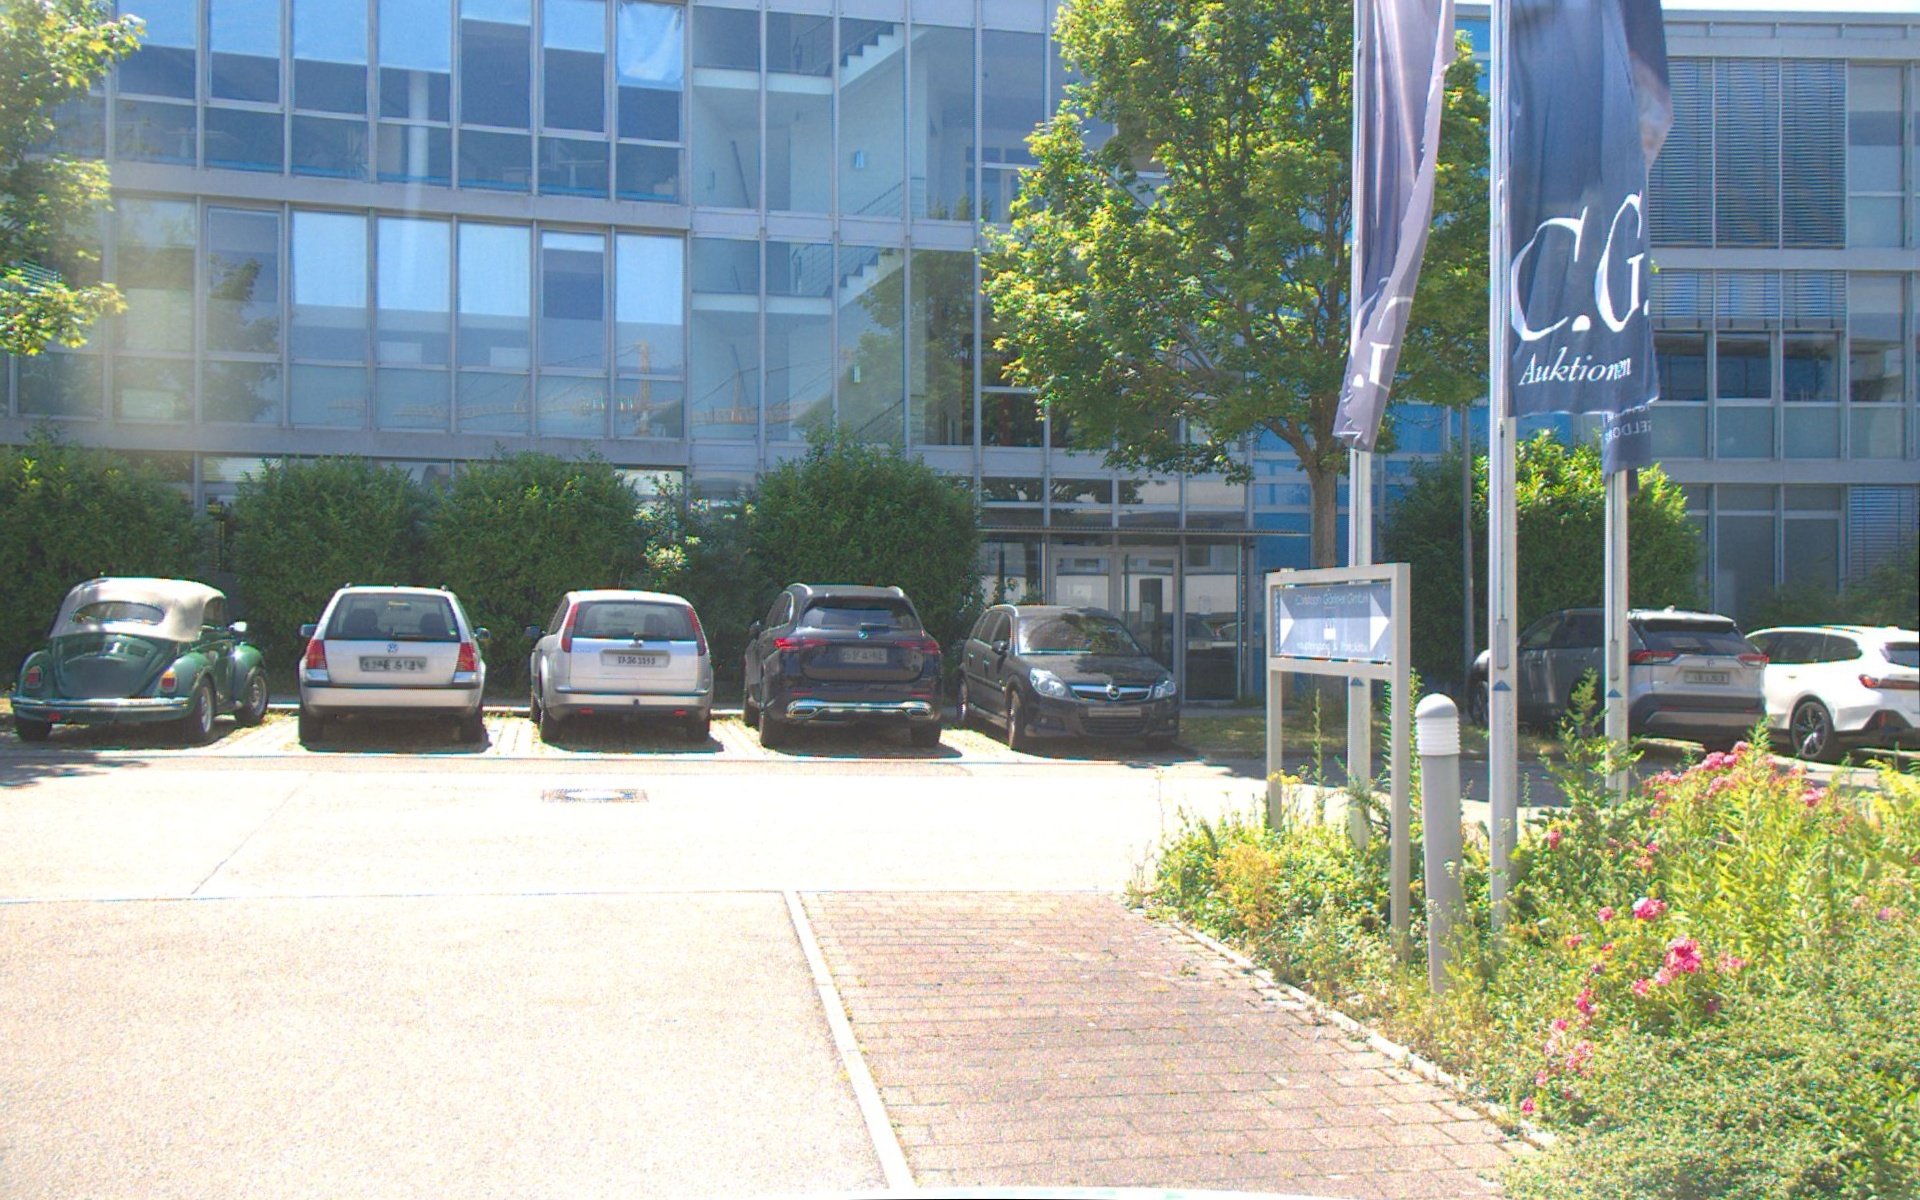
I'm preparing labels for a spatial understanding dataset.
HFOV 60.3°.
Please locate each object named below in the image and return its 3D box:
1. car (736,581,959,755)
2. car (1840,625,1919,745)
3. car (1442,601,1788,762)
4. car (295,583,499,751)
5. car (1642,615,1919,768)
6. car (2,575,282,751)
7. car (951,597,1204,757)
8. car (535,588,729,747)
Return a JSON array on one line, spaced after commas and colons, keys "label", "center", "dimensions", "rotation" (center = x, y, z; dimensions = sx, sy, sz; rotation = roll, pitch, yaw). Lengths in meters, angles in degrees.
[{"label": "car", "center": [-1.343, 0.649, 18.012], "dimensions": [1.893, 1.639, 3.975], "rotation": [2, 0, -11]}, {"label": "car", "center": [12.835, 1.111, 20.225], "dimensions": [1.701, 1.454, 4.338], "rotation": [2, 0, -2]}, {"label": "car", "center": [7.649, 0.873, 19.828], "dimensions": [1.787, 1.648, 4.327], "rotation": [1, 1, -11]}, {"label": "car", "center": [-5.565, 0.600, 16.716], "dimensions": [1.703, 1.474, 3.638], "rotation": [2, 0, -16]}, {"label": "car", "center": [10.232, 1.013, 19.783], "dimensions": [1.705, 1.518, 4.327], "rotation": [2, 0, -11]}, {"label": "car", "center": [-7.750, 0.526, 16.008], "dimensions": [1.514, 1.474, 3.643], "rotation": [2, 0, -12]}, {"label": "car", "center": [1.160, 0.760, 18.390], "dimensions": [1.738, 1.508, 4.247], "rotation": [1, 1, -11]}, {"label": "car", "center": [-3.611, 0.652, 17.739], "dimensions": [1.736, 1.474, 3.638], "rotation": [2, 0, -16]}]
